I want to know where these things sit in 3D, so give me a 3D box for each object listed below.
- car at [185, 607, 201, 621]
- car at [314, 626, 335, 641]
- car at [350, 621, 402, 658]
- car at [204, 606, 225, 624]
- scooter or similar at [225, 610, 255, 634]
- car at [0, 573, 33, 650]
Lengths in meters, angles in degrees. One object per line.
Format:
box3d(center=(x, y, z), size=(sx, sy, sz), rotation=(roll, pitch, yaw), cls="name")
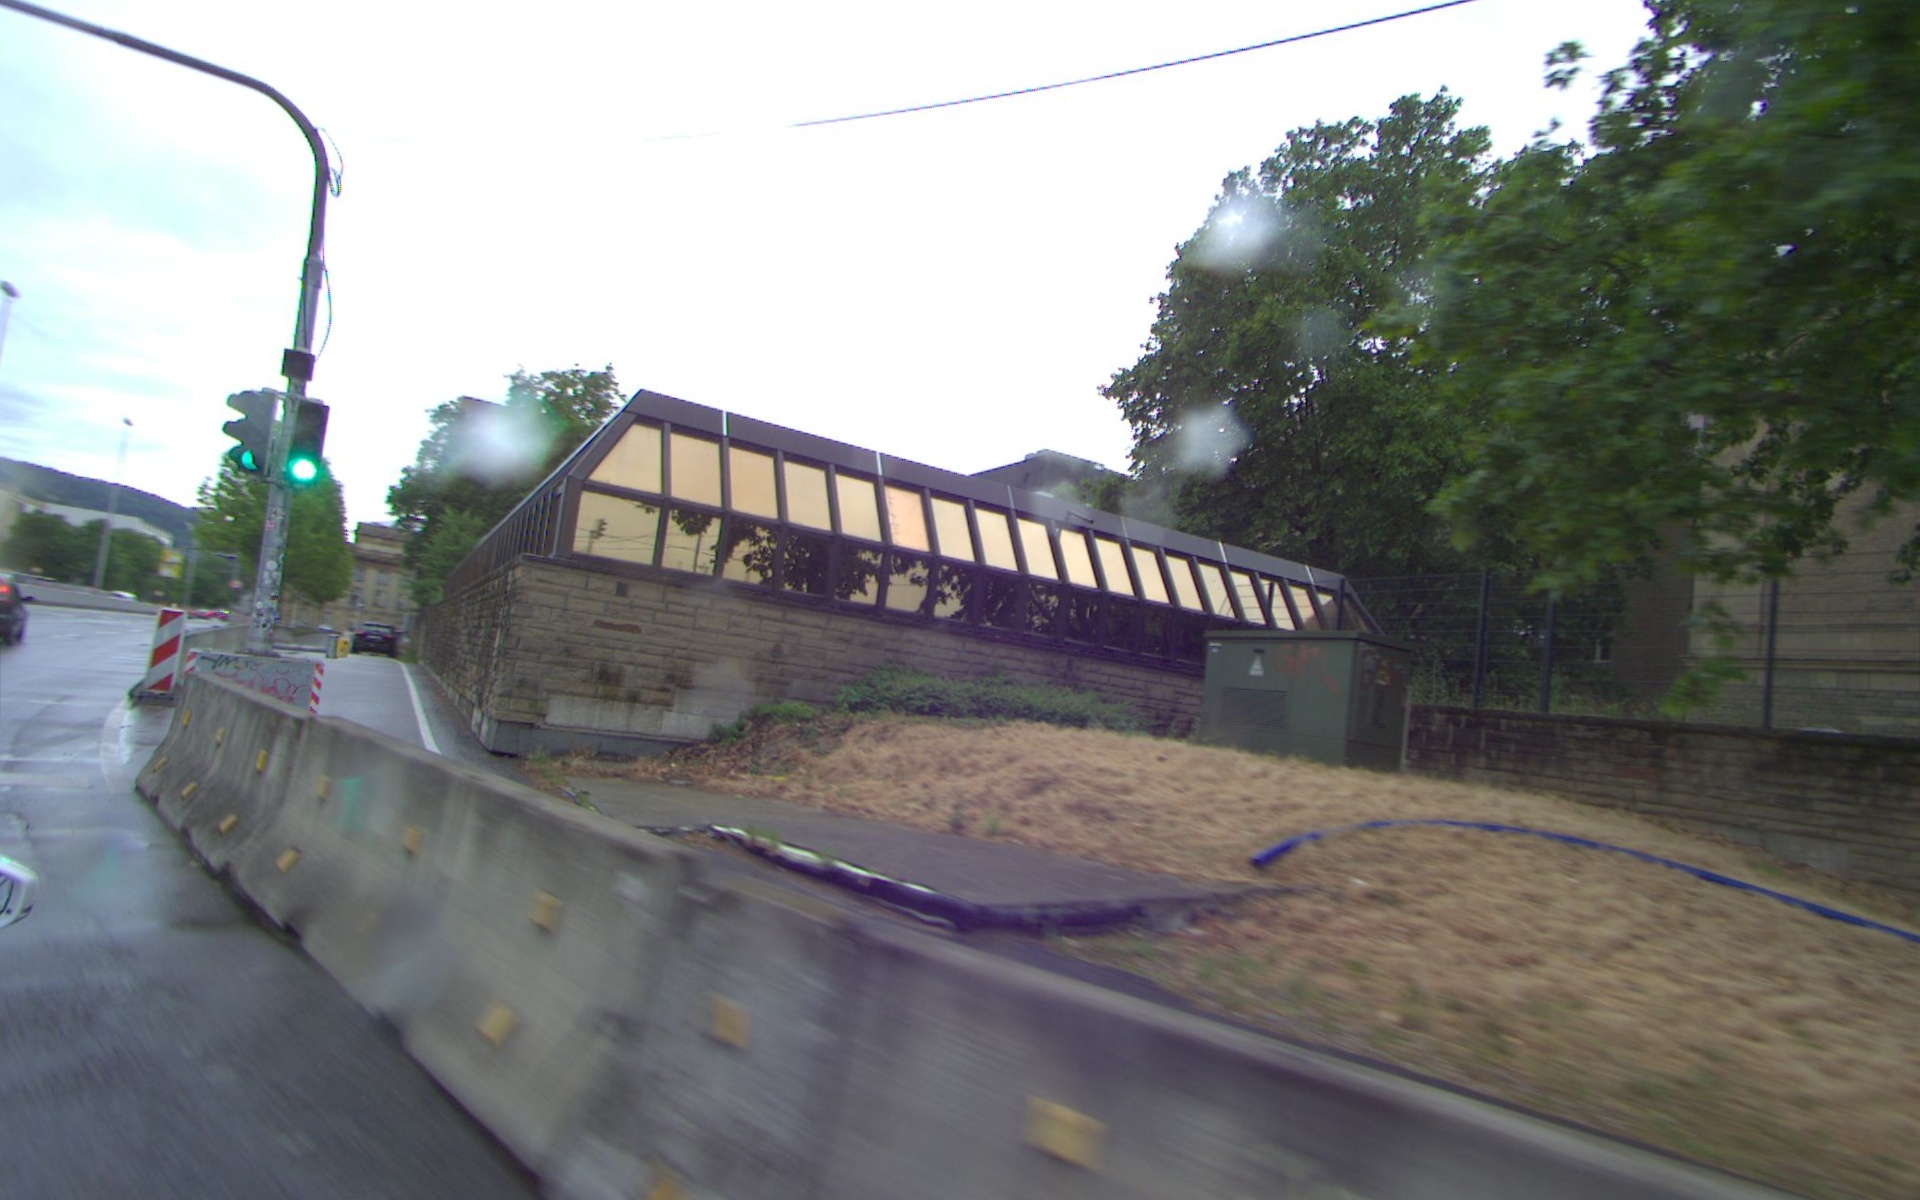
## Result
box3d(center=(-90.988, 1.683, 119.362), size=(1.379, 1.400, 3.041), rotation=(10, -7, -36), cls="car")
box3d(center=(-90.288, 4.762, 142.983), size=(1.979, 1.725, 3.978), rotation=(11, -6, -27), cls="car")
box3d(center=(-27.453, 1.839, 47.396), size=(1.787, 1.571, 4.301), rotation=(3, -2, -27), cls="car")
box3d(center=(-103.120, 2.045, 139.189), size=(1.987, 2.031, 3.966), rotation=(13, -10, -36), cls="car")
box3d(center=(-46.753, 1.461, 65.369), size=(1.348, 1.296, 0.615), rotation=(12, -8, -31), cls="scooter or similar")
box3d(center=(-20.309, 0.119, 20.638), size=(1.667, 1.441, 3.714), rotation=(11, -7, -43), cls="car")
